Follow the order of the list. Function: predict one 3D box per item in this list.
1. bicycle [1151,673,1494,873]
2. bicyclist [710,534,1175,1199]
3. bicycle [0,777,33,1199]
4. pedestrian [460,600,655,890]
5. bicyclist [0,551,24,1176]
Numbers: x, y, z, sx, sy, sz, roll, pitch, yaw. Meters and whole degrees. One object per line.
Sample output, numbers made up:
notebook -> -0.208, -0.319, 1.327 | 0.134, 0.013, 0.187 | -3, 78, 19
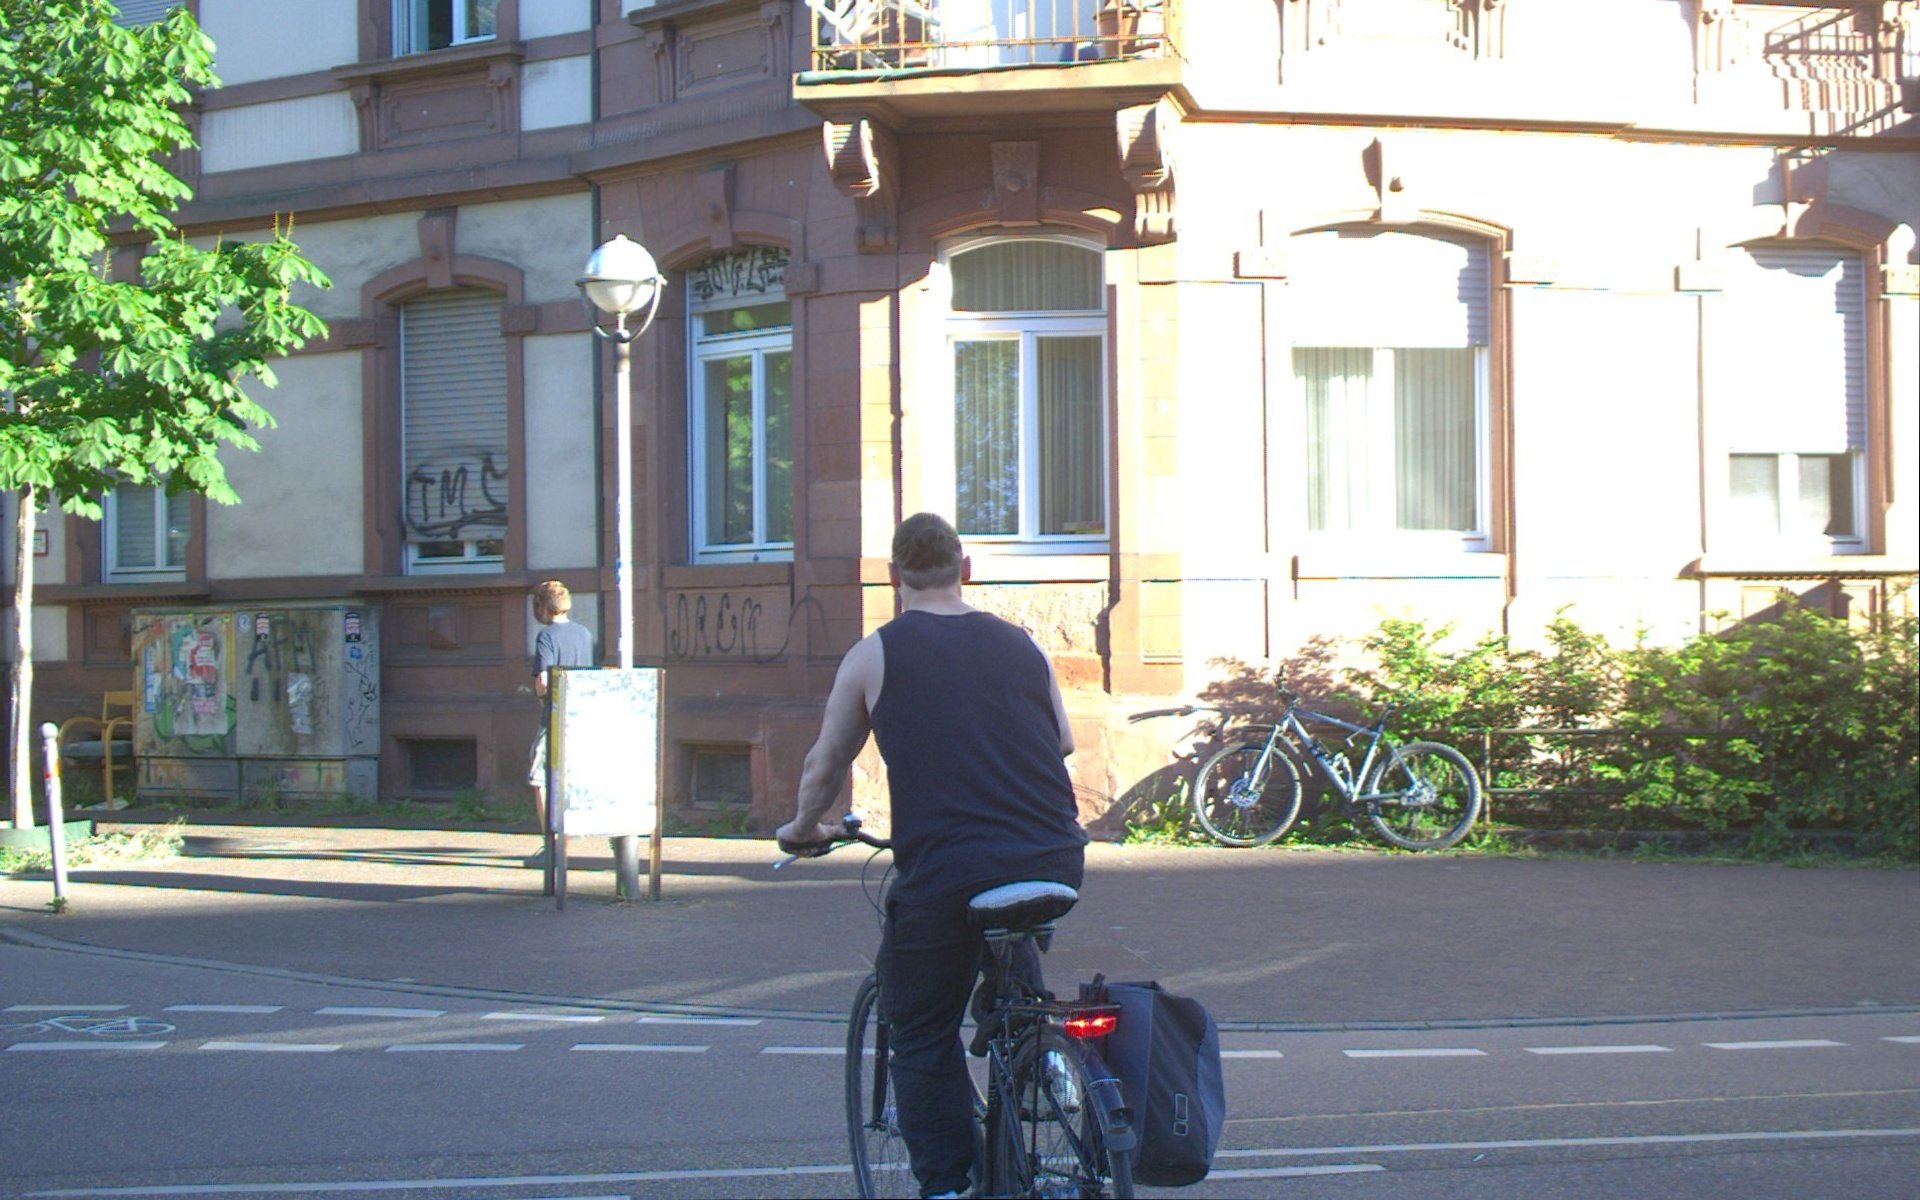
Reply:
bicycle -> 2.150, 1.014, 20.458 | 1.962, 1.103, 0.443 | 1, 0, 19
bicyclist -> -0.059, 0.709, 7.465 | 0.686, 1.650, 0.989 | -1, -2, -20
bicycle -> -2.865, 1.063, 9.014 | 0.717, 1.103, 1.967 | 0, 0, -12
pedestrian -> -2.366, 0.827, 20.173 | 0.904, 1.629, 0.724 | 2, 2, 43
bicyclist -> -2.851, 0.664, 9.016 | 0.706, 1.568, 0.957 | 0, -1, -12
